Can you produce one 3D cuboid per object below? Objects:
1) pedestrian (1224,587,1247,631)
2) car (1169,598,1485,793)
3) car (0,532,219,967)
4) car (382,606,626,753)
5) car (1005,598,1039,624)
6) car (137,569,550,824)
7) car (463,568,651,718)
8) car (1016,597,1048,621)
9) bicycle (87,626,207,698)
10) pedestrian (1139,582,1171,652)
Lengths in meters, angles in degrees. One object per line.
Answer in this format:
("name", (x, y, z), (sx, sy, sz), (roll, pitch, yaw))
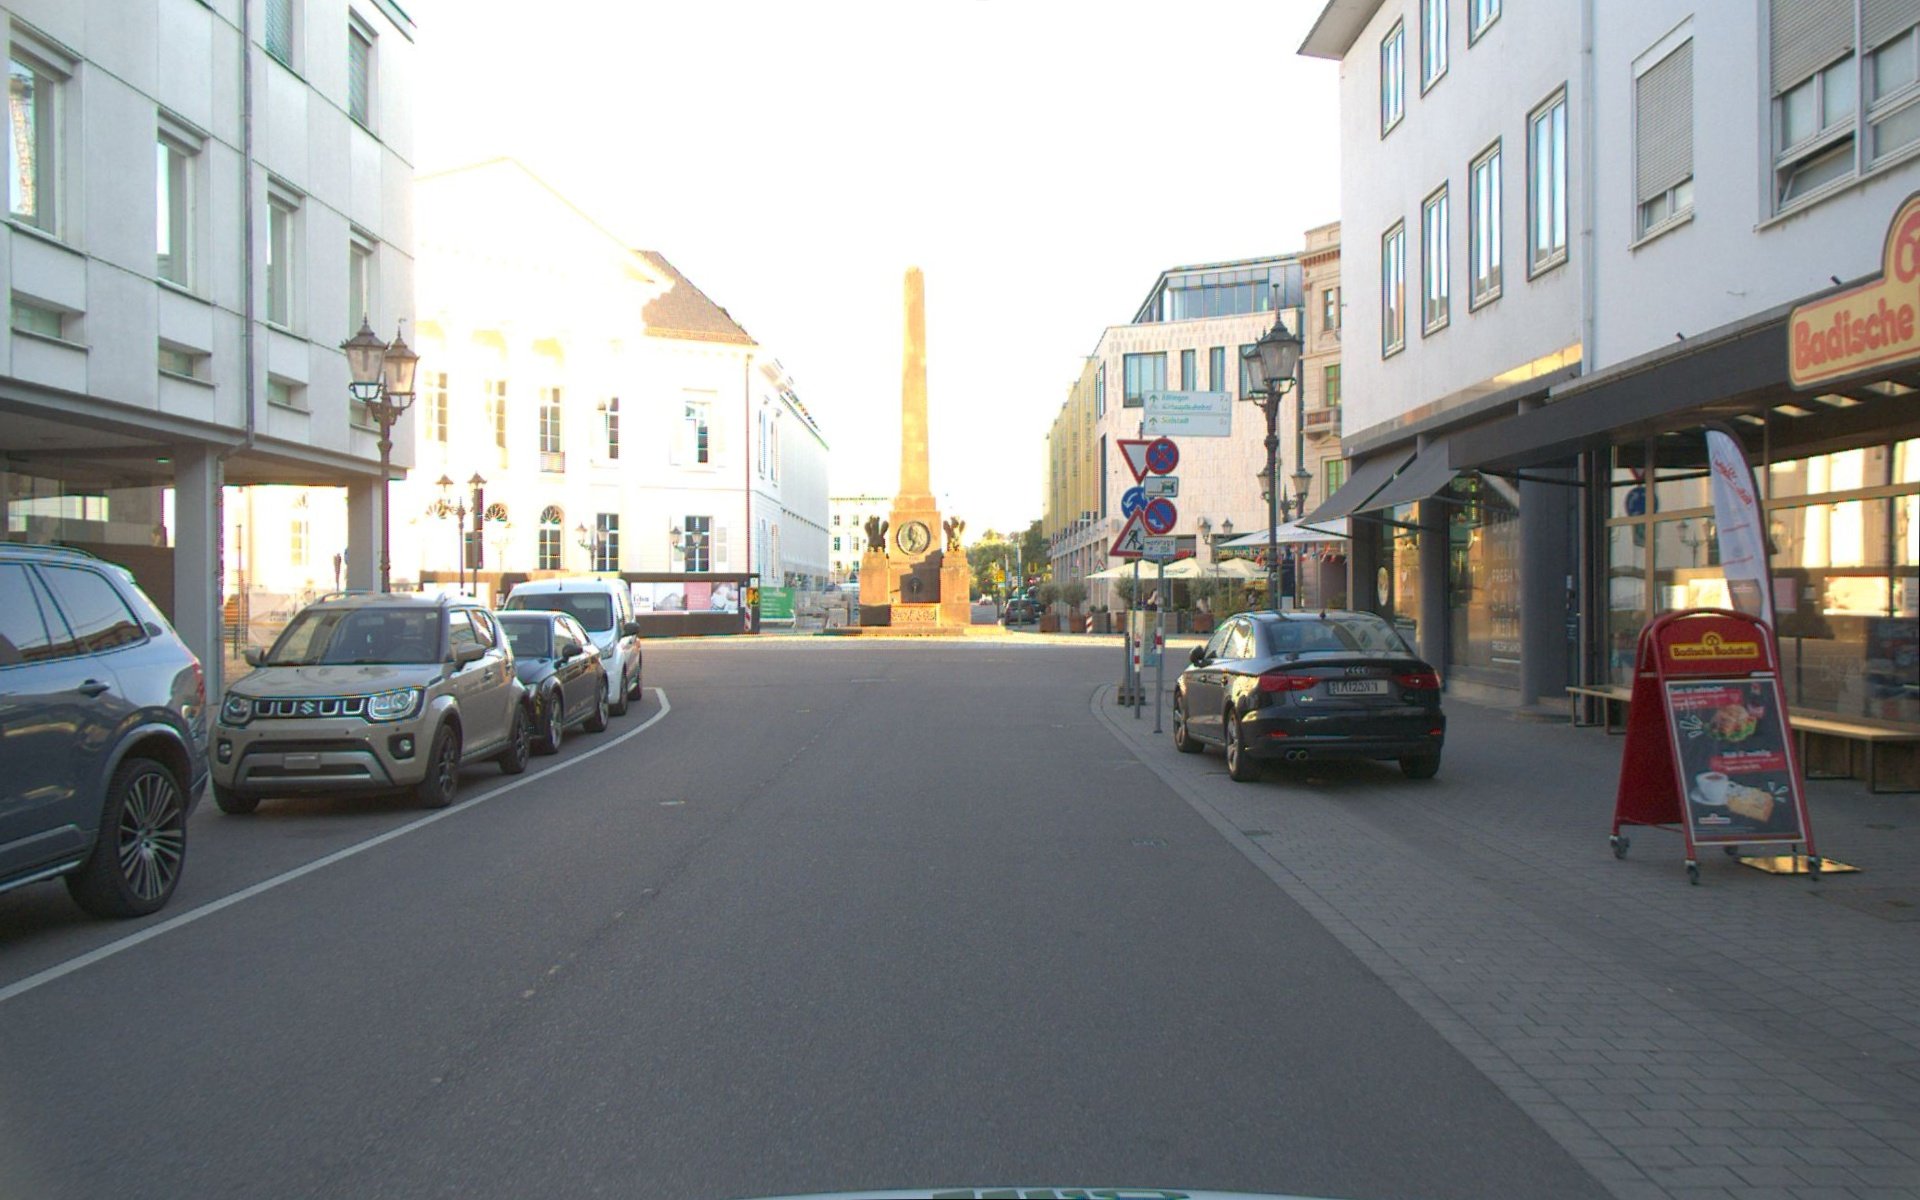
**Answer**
("pedestrian", (11.216, 0.368, 67.273), (0.885, 1.759, 0.850), (-1, 0, 8))
("car", (3.124, 0.737, 14.938), (1.765, 1.489, 4.115), (-1, 0, -3))
("car", (-4.869, 0.630, 6.334), (1.952, 1.758, 4.516), (-2, 0, 1))
("car", (-4.785, 0.769, 17.913), (1.644, 1.377, 4.103), (0, 0, -2))
("car", (3.594, 0.636, 96.449), (1.952, 1.489, 4.001), (0, 0, 2))
("car", (-4.730, 0.652, 13.382), (1.954, 1.691, 3.998), (-2, 0, -3))
("car", (-5.427, 0.514, 22.861), (1.955, 1.847, 4.777), (0, 0, -7))
("car", (4.546, 0.573, 104.919), (1.952, 1.489, 4.001), (0, 0, 2))
("bicycle", (-12.369, 0.918, 25.252), (0.718, 1.001, 2.335), (0, 0, -1))
("pedestrian", (4.770, 0.410, 40.474), (0.676, 1.676, 0.695), (-1, 0, -1))
